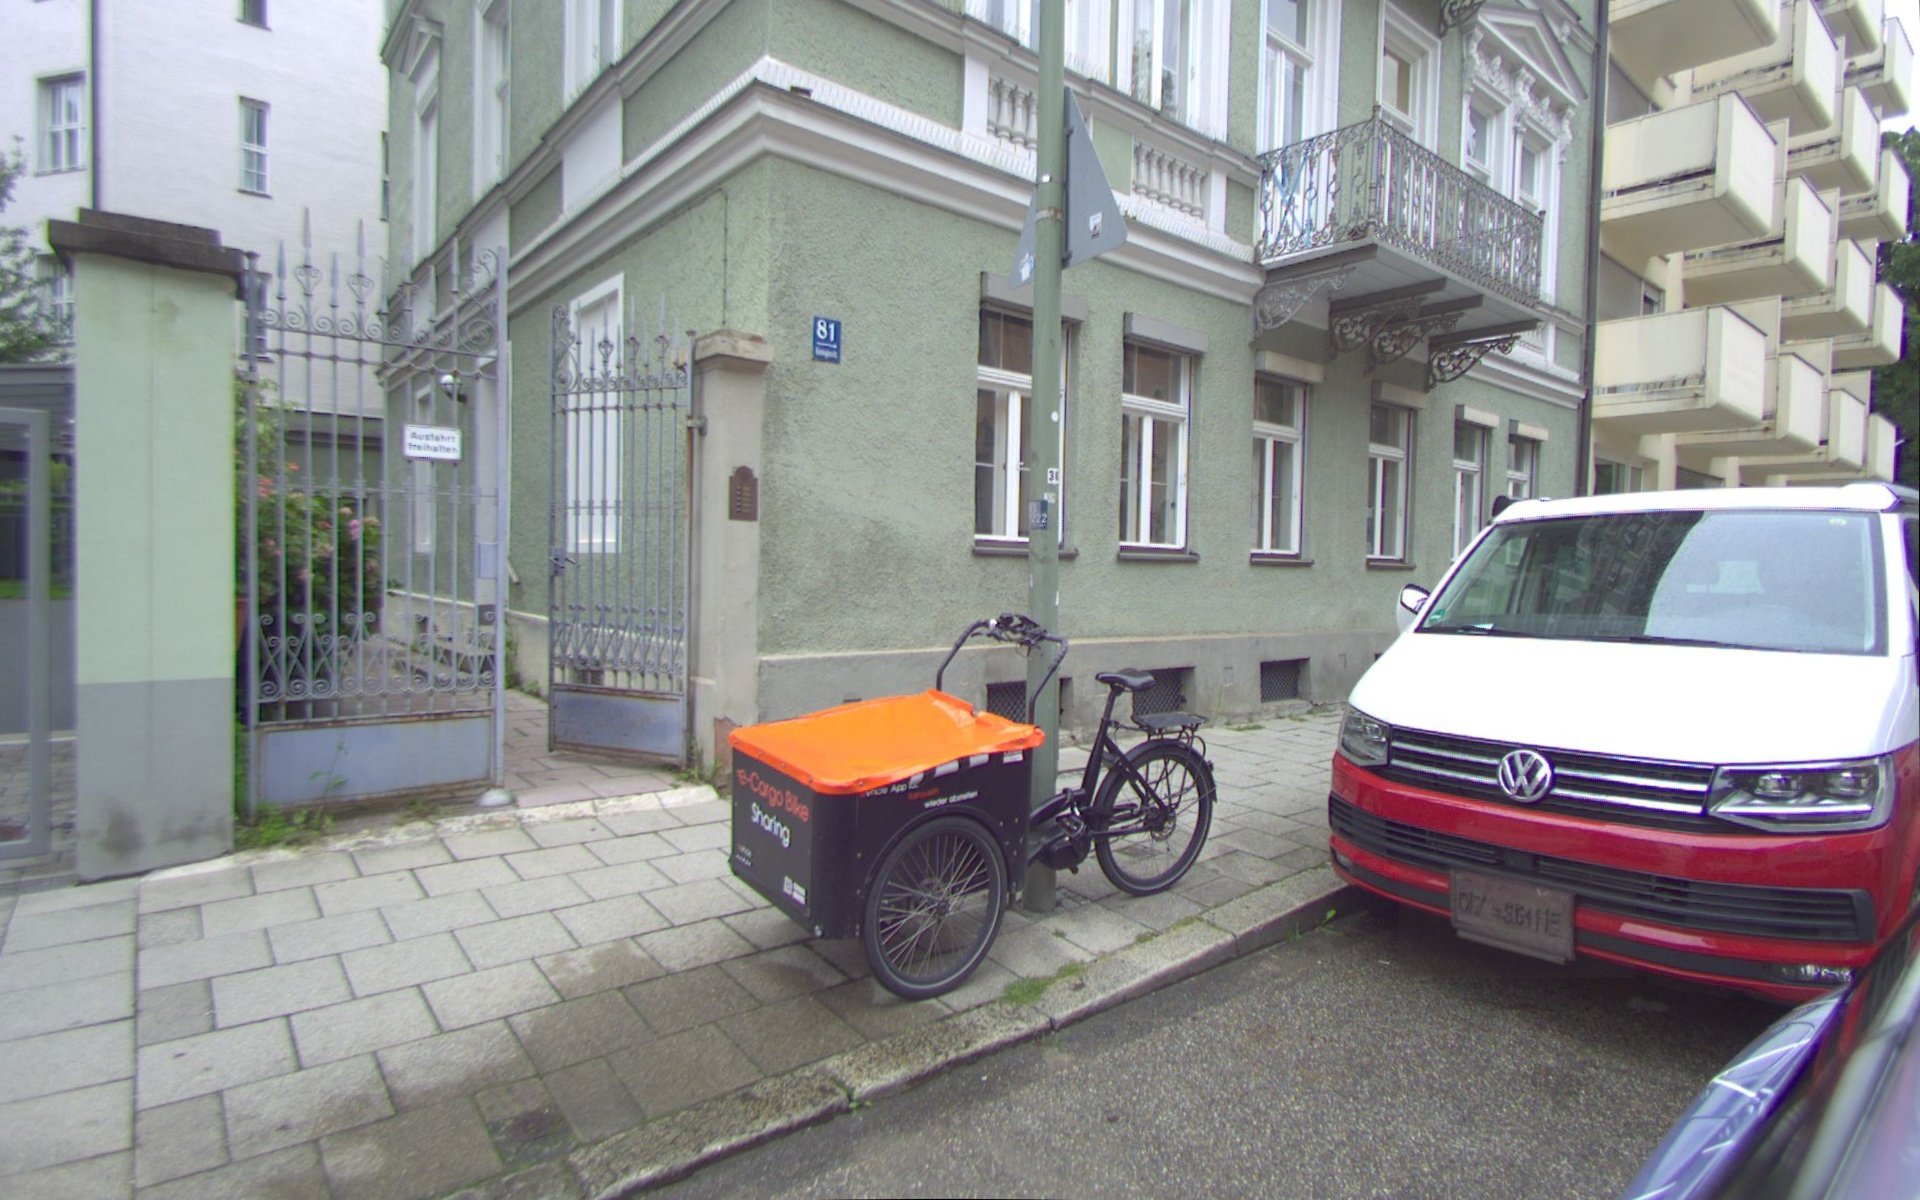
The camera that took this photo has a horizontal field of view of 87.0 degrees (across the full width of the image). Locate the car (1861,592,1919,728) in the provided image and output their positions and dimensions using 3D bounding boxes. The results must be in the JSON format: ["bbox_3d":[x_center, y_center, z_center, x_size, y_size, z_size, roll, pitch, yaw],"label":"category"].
[{"bbox_3d":[12.402,0.666,12.377,3.908,1.515,1.550,0,0,-40],"label":"car"}]

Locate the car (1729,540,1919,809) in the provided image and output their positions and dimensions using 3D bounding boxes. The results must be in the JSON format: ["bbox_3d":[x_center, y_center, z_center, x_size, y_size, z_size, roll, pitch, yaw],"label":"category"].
[{"bbox_3d":[7.986,0.500,8.249,4.473,1.780,1.831,0,0,-40],"label":"car"}]

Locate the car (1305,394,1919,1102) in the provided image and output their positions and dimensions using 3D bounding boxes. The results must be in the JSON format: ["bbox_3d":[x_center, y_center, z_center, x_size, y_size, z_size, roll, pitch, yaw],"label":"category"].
[{"bbox_3d":[3.755,0.392,4.905,4.509,1.920,1.857,0,0,-39],"label":"car"}]

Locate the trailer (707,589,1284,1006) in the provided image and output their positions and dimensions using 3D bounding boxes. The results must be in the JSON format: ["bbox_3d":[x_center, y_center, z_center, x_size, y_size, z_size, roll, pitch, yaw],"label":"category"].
[{"bbox_3d":[0.195,0.597,4.060,2.123,1.197,0.946,0,5,-35],"label":"trailer"}]
